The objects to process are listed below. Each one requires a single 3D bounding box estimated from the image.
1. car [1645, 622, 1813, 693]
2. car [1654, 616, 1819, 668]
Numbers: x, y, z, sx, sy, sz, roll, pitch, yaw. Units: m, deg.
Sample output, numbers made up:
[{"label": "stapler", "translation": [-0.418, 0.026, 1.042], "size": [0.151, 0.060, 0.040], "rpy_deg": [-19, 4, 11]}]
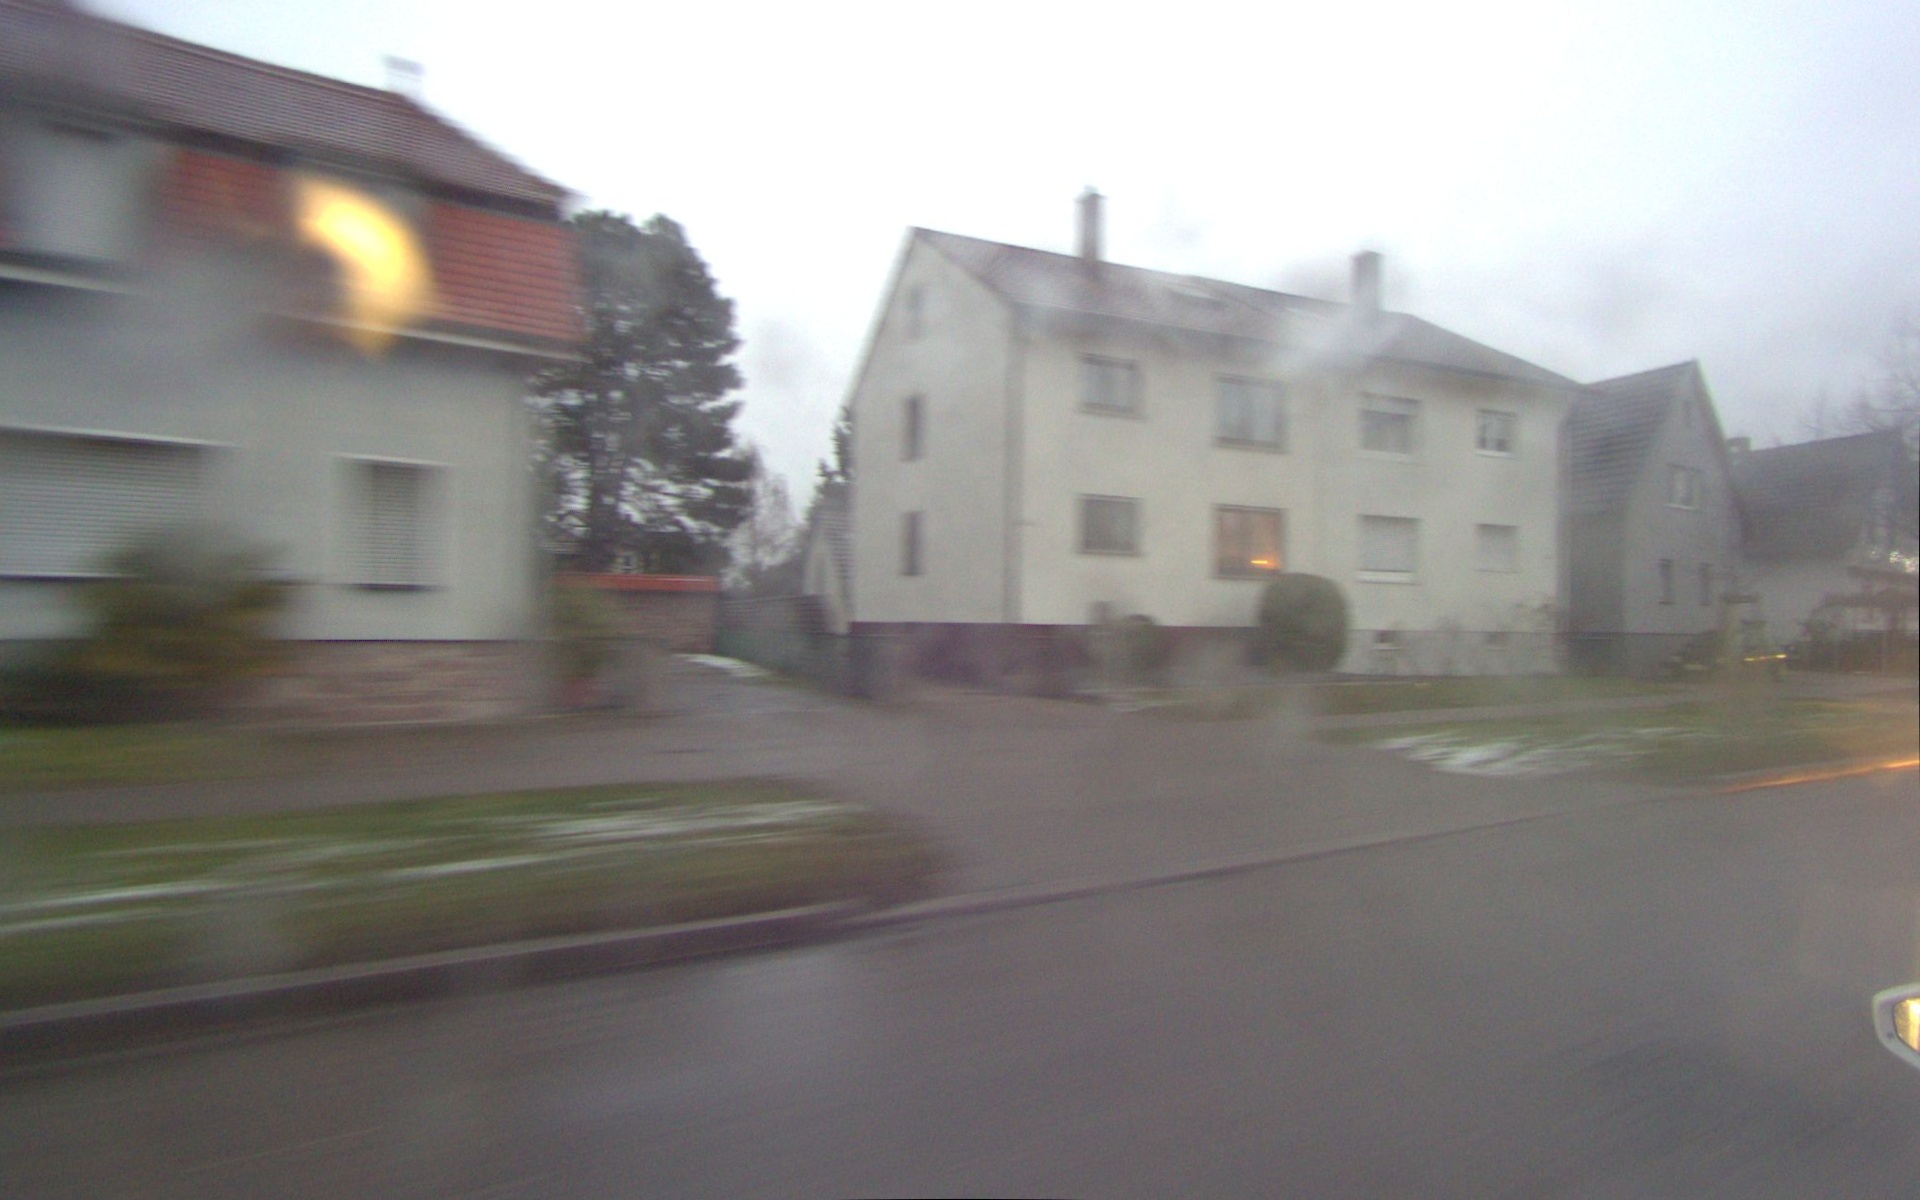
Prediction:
[{"label": "car", "translation": [20.749, 1.514, 27.076], "size": [4.512, 1.779, 1.985], "rpy_deg": [2, -1, -29]}, {"label": "car", "translation": [28.672, 1.519, 37.287], "size": [1.884, 1.824, 4.544], "rpy_deg": [1, -1, -22]}]
